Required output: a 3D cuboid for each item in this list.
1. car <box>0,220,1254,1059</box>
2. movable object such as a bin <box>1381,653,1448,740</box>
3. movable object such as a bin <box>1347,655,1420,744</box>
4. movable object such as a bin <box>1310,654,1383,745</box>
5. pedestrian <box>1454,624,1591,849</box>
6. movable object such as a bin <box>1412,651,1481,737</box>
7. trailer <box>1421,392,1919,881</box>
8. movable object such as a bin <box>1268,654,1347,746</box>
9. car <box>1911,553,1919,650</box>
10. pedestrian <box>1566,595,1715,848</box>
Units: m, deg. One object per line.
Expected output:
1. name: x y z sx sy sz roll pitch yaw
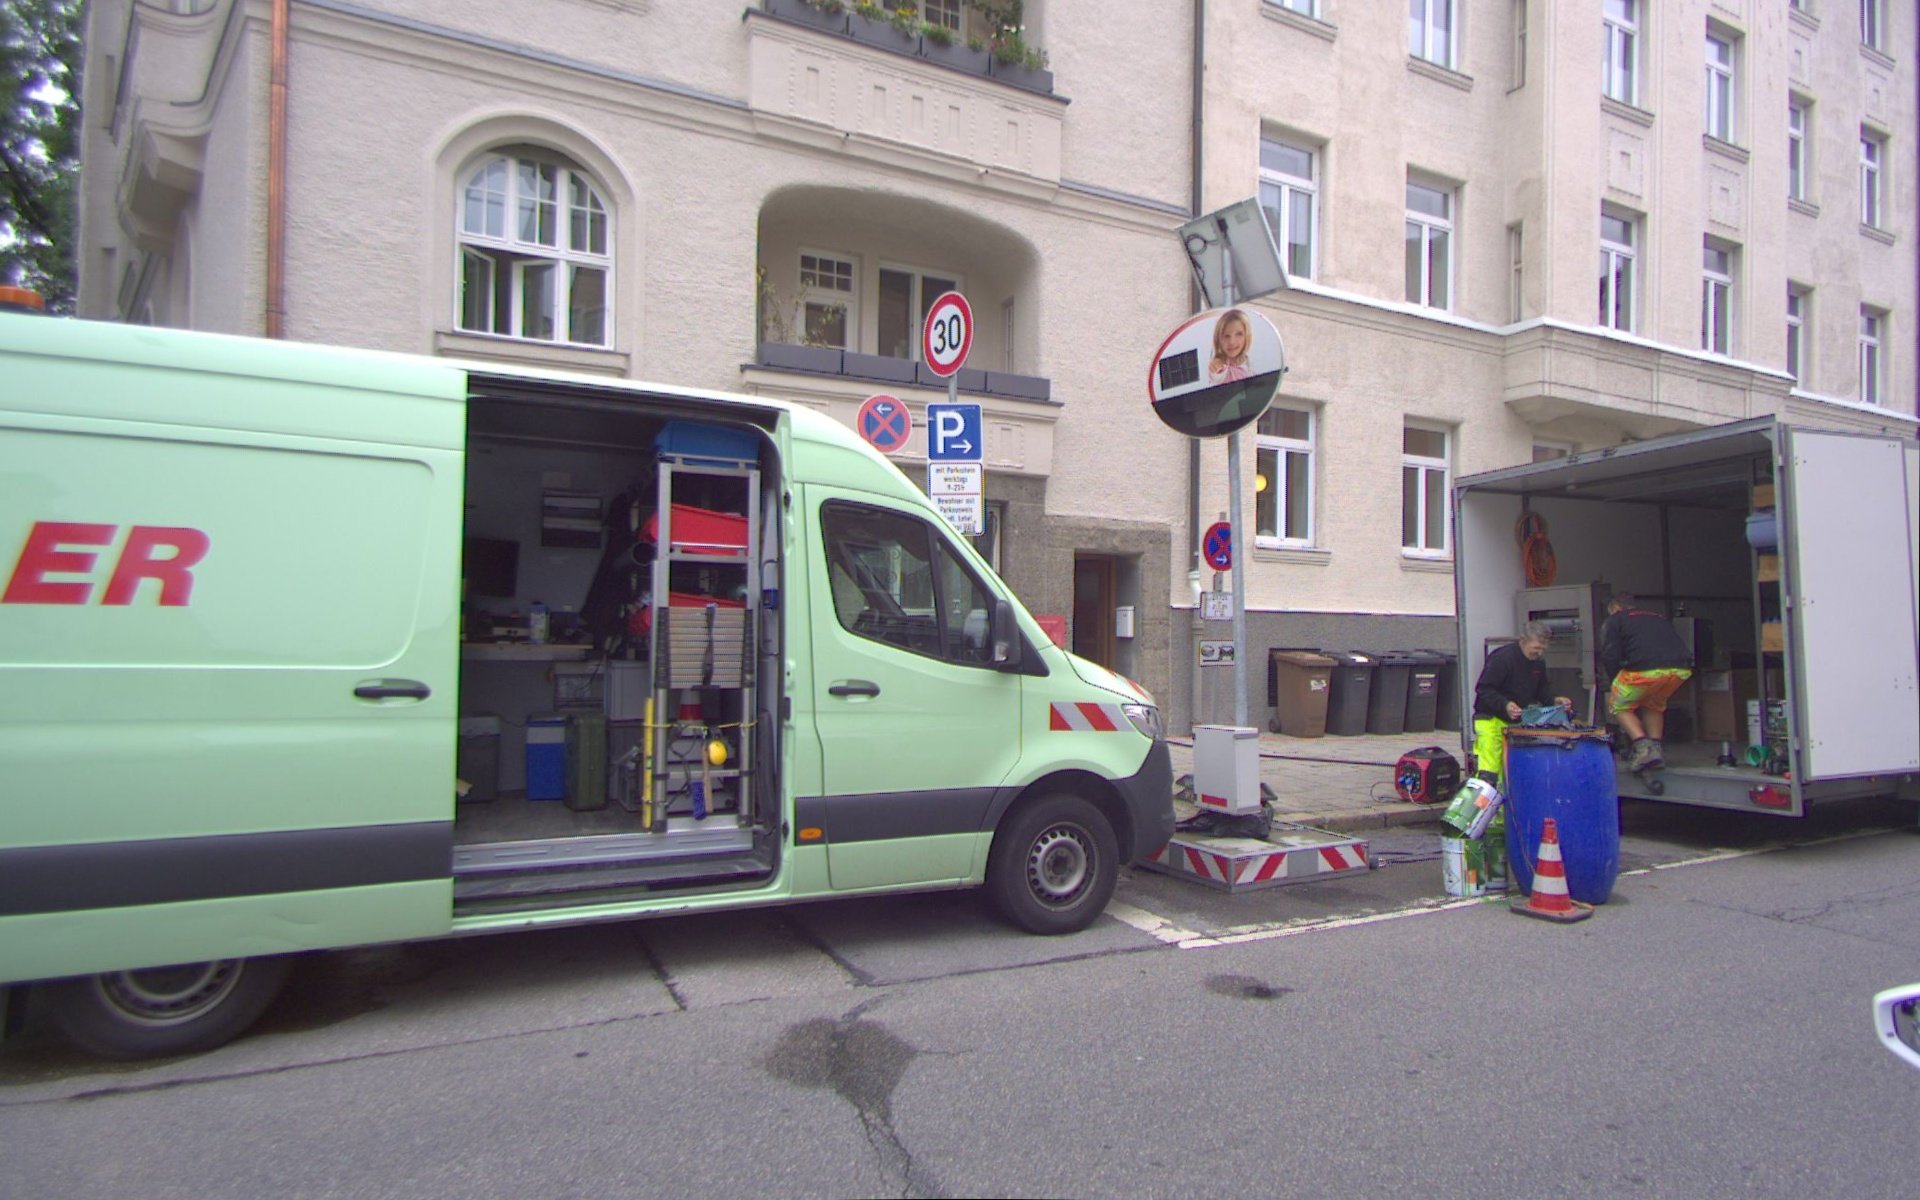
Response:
1. car: -1.915 0.172 4.824 6.703 2.606 2.134 1 -1 -26
2. movable object such as a bin: 6.224 1.302 13.763 0.547 1.143 0.647 2 -2 -23
3. movable object such as a bin: 5.694 1.320 13.521 0.630 1.143 0.675 2 -2 -23
4. movable object such as a bin: 5.111 1.301 13.298 0.630 1.143 0.647 2 -2 -23
5. pedestrian: 4.290 0.992 7.672 0.632 1.601 0.754 2 -3 -43
6. movable object such as a bin: 6.754 1.290 13.961 0.547 1.143 0.670 2 -2 -23
7. trailer: 8.046 0.342 8.985 7.493 3.007 2.798 1 -4 -24
8. movable object such as a bin: 4.495 1.279 13.014 0.720 1.143 0.647 2 -2 -23
9. car: 14.660 0.747 12.294 6.787 2.620 2.050 1 -6 -27
10. pedestrian: 4.788 0.811 7.075 0.633 1.652 0.754 3 -3 -45
